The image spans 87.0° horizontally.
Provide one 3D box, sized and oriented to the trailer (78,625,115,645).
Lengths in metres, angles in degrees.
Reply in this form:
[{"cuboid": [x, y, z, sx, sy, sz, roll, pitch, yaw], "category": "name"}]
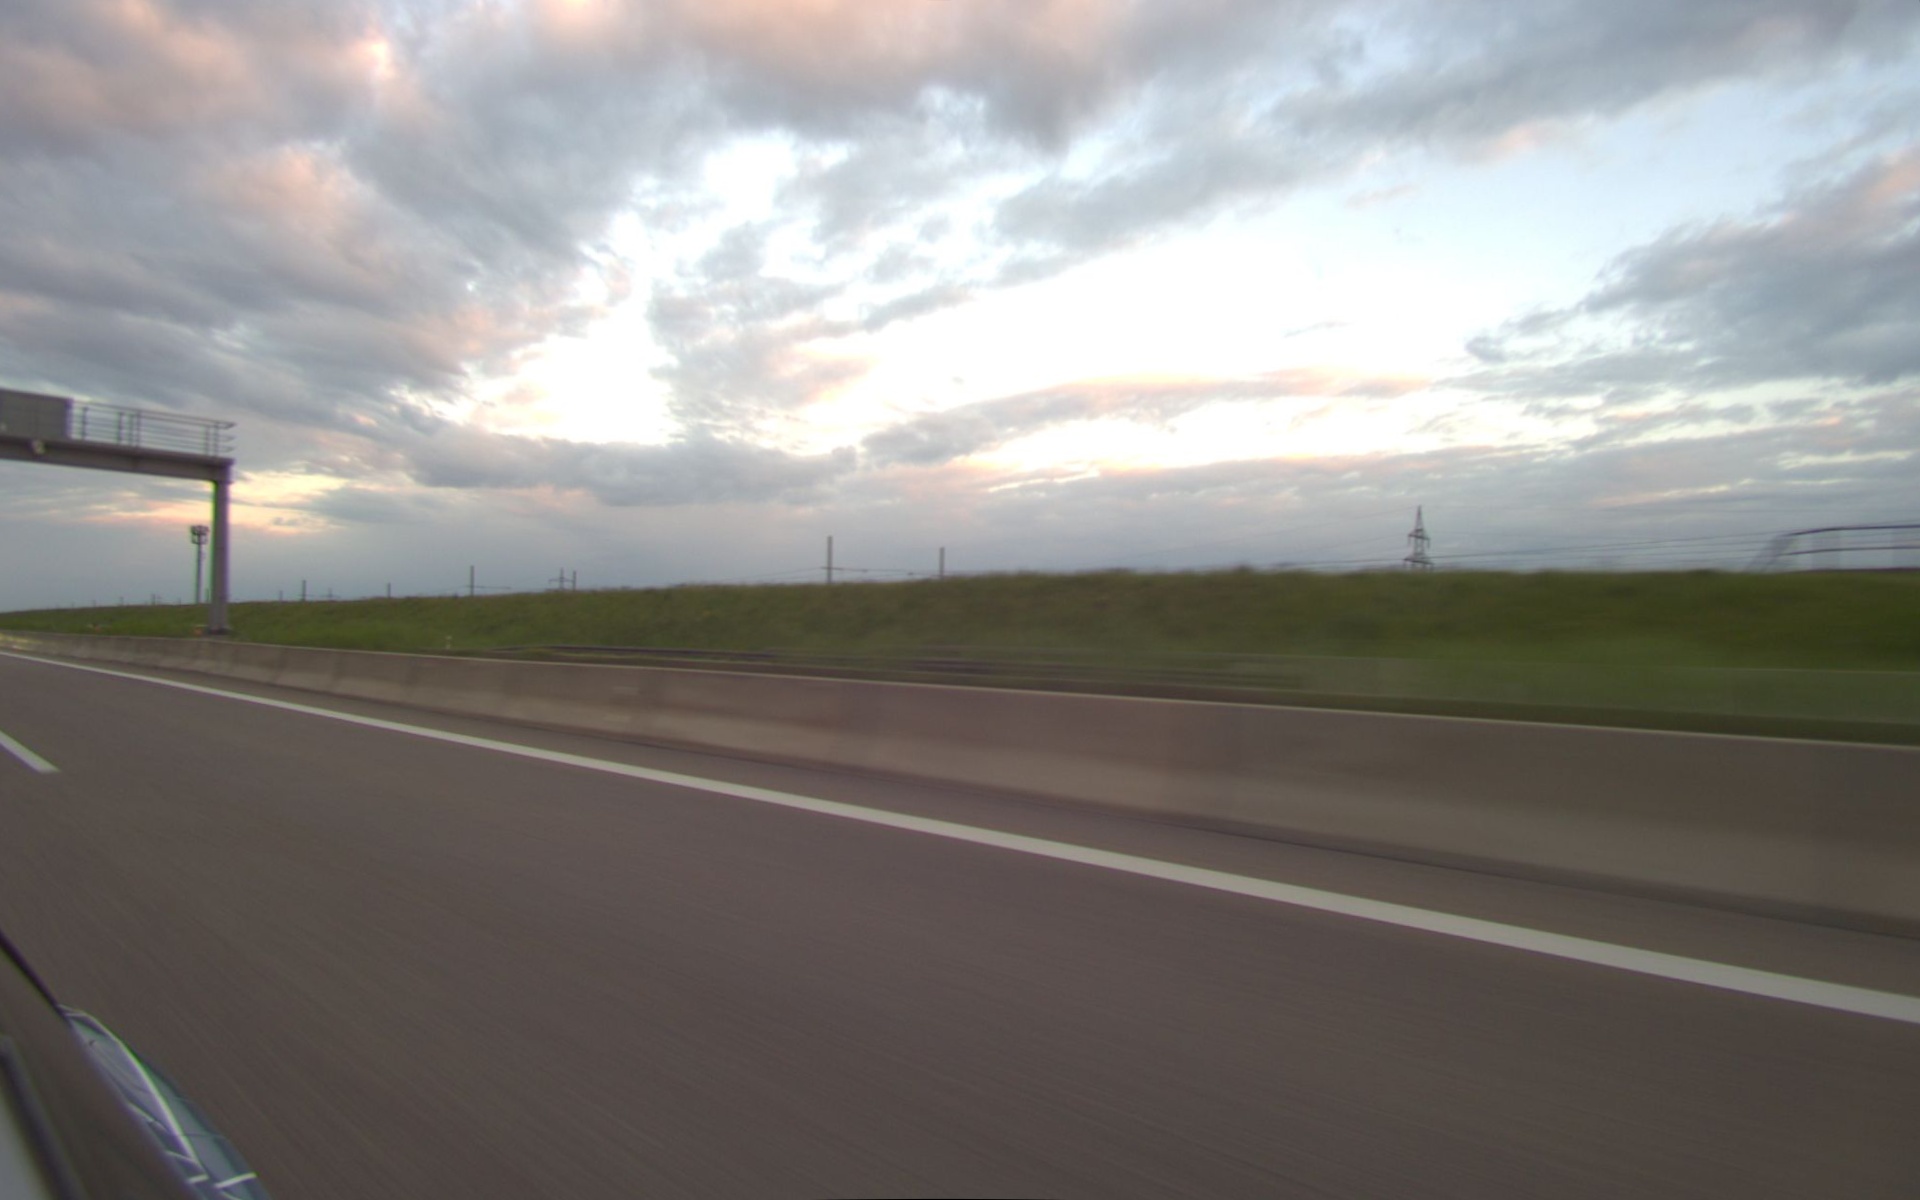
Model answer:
[{"cuboid": [-69.183, 2.774, 81.074, 3.927, 1.564, 1.667, -1, -2, 42], "category": "trailer"}]
